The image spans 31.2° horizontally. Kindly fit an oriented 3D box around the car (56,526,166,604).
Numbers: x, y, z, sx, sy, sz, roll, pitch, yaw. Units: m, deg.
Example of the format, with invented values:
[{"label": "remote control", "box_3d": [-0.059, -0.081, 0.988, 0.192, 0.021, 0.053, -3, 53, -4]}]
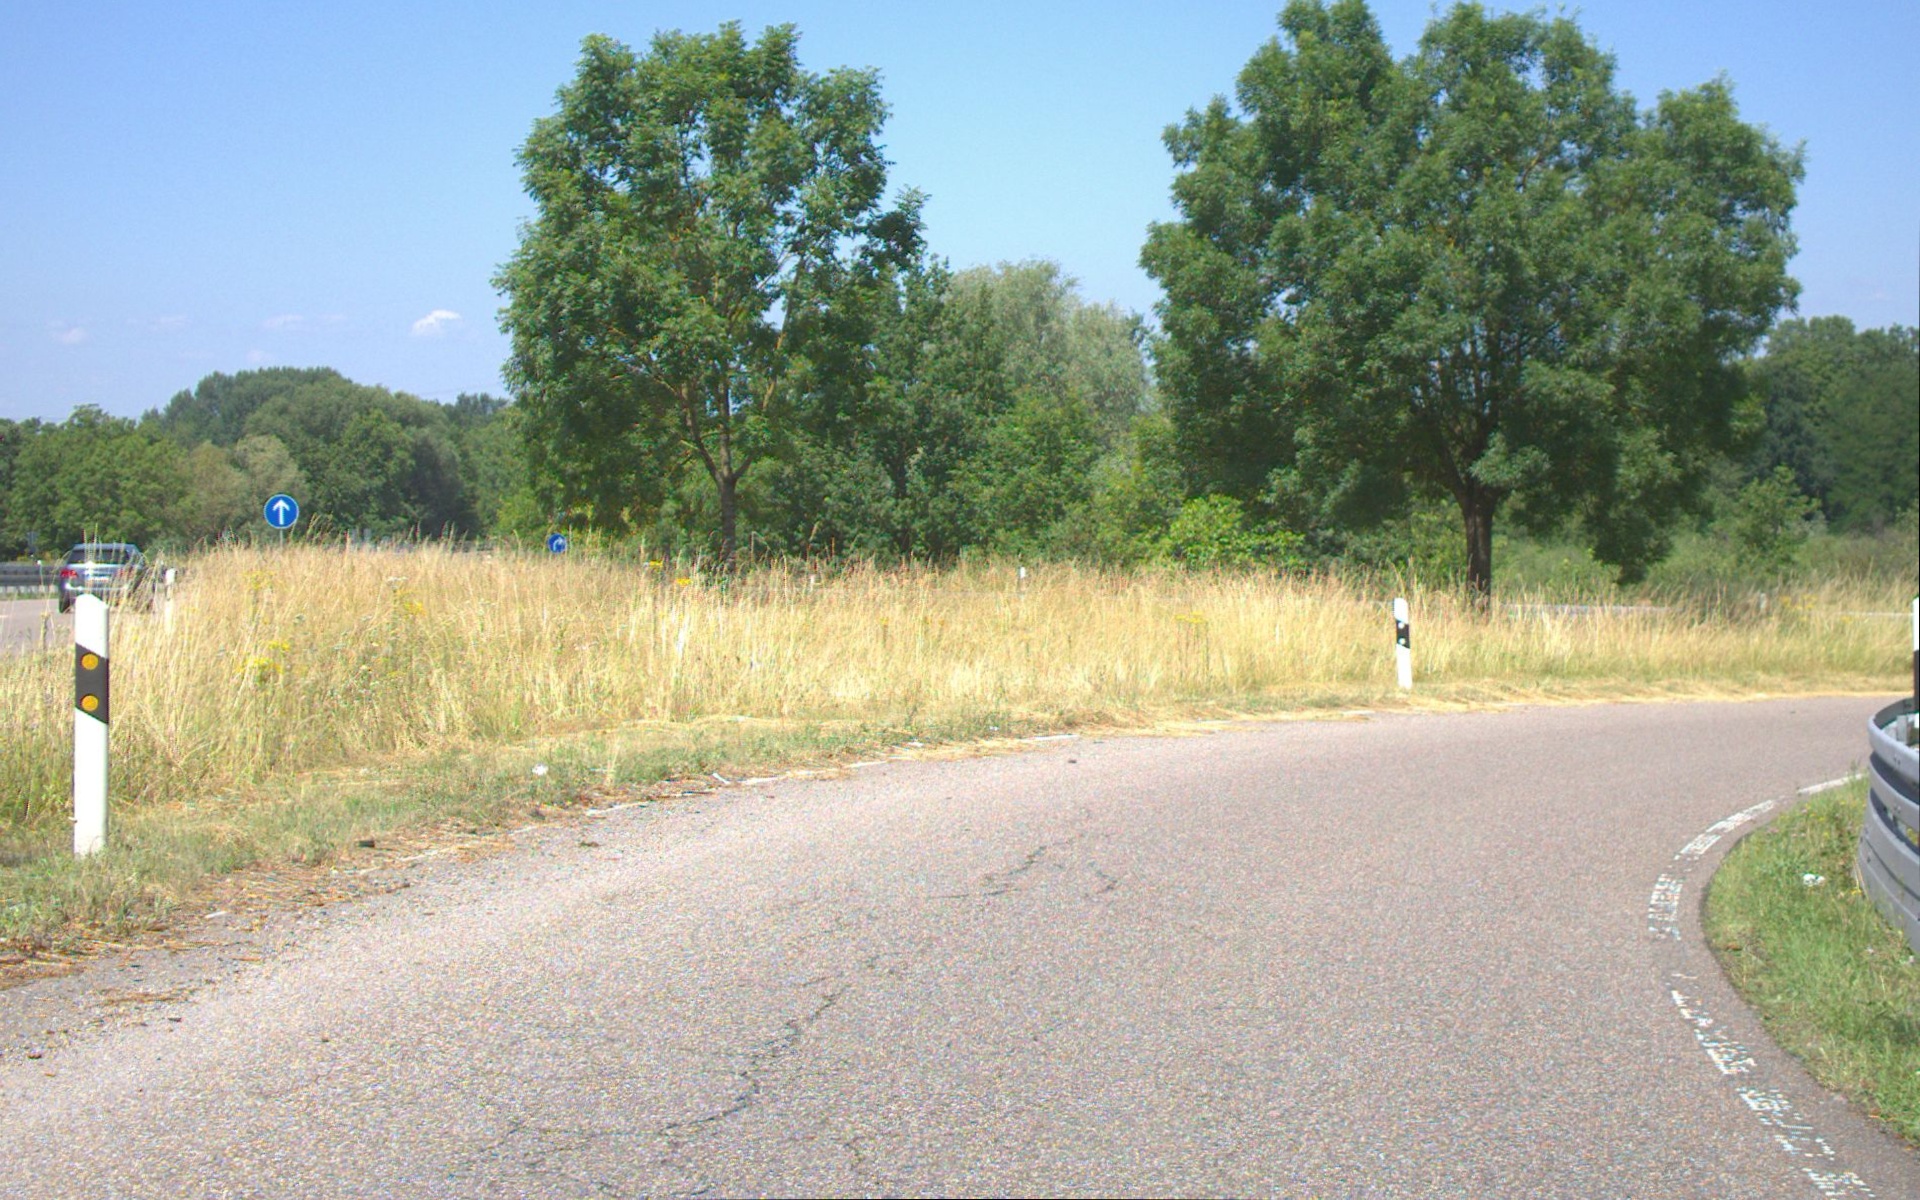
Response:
[{"label": "car", "box_3d": [-18.981, -0.799, 77.002, 2.035, 1.667, 4.001, 1, 1, -9]}]
